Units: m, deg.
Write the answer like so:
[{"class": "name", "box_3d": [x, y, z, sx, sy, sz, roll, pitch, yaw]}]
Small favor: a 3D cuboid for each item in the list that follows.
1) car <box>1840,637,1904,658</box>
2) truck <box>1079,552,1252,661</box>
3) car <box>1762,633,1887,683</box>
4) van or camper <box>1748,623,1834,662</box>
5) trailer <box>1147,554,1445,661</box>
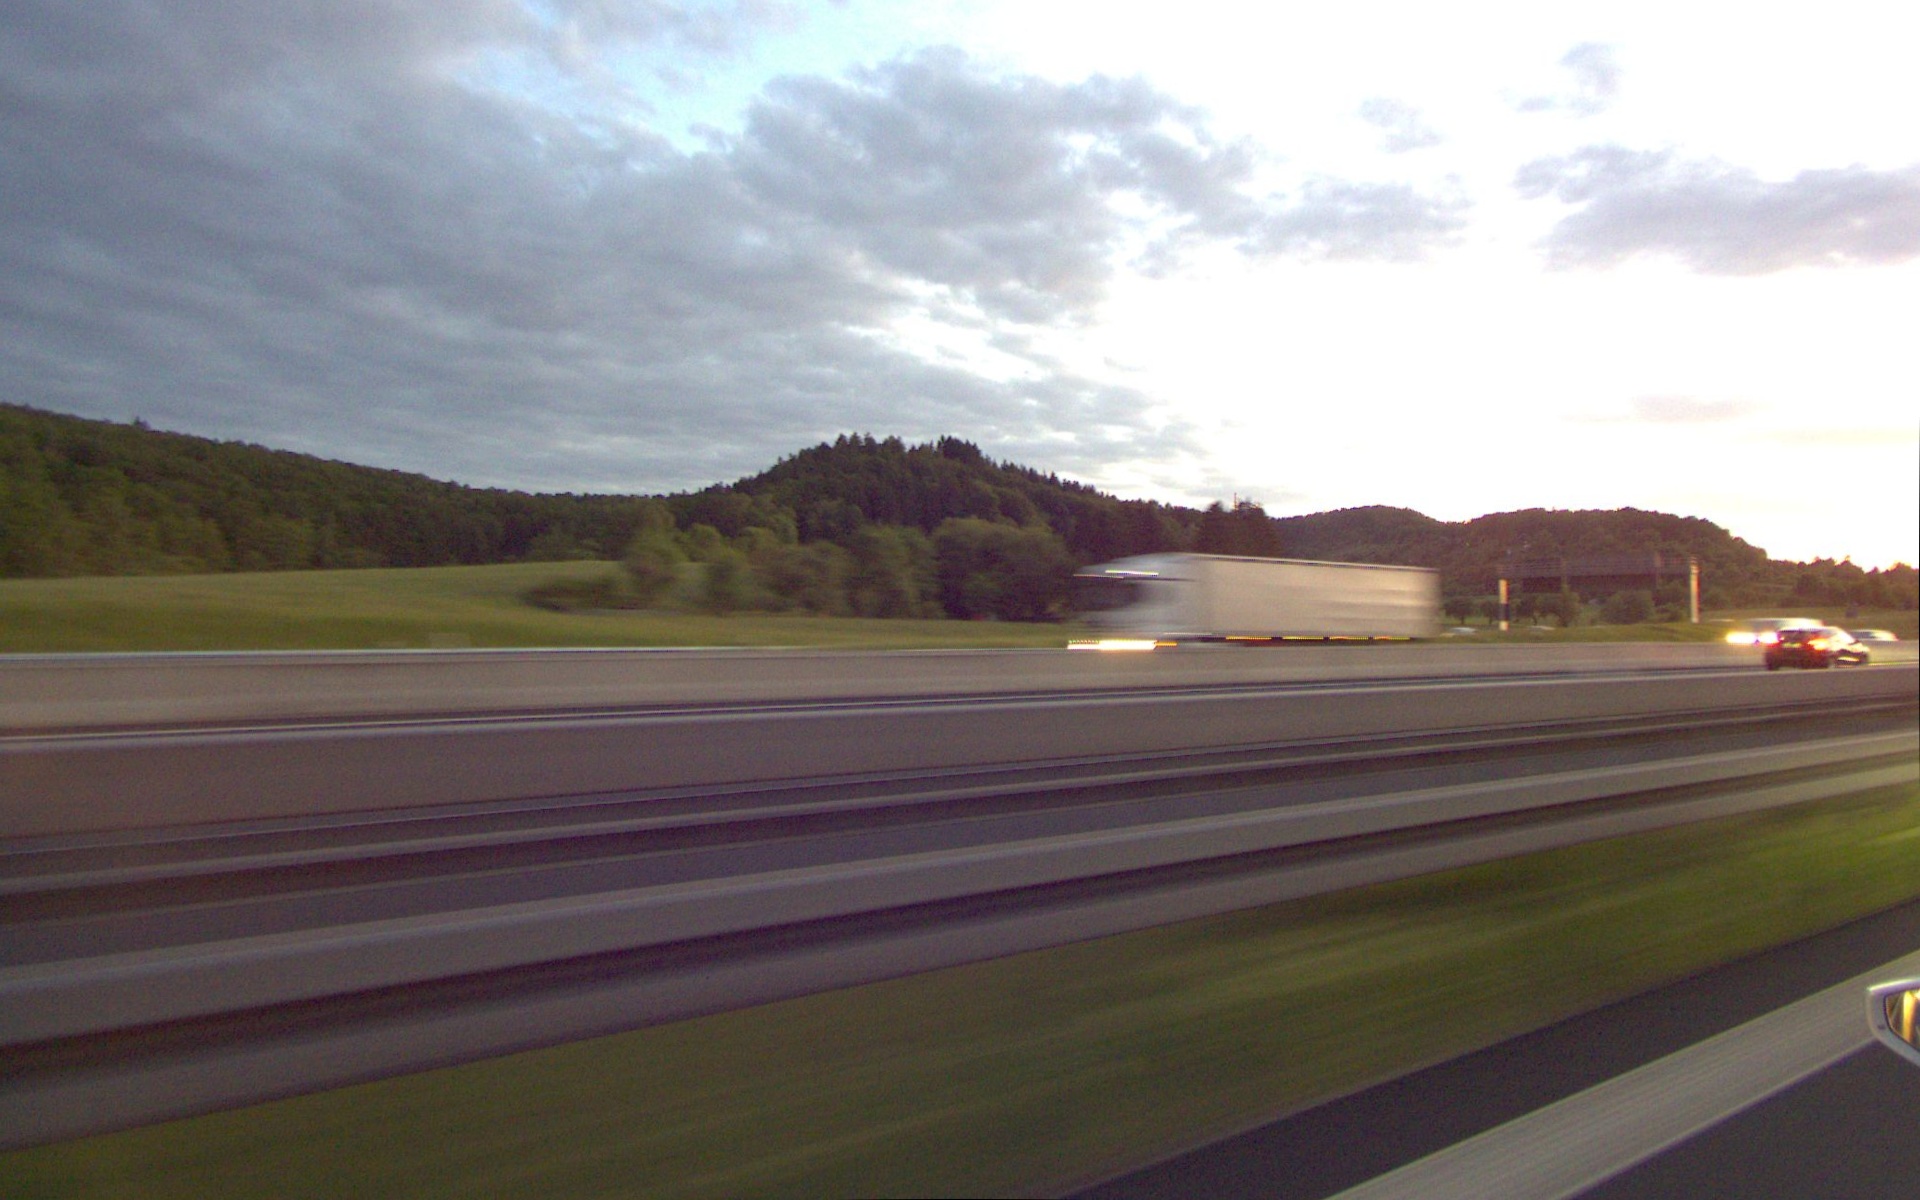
[{"class": "car", "box_3d": [56.388, 2.926, 62.091, 4.163, 1.266, 1.744, 2, -2, -30]}, {"class": "truck", "box_3d": [7.533, 0.347, 36.779, 5.434, 3.666, 3.294, 2, -2, -31]}, {"class": "car", "box_3d": [29.489, 1.956, 34.241, 4.467, 1.582, 1.863, 2, -2, -30]}, {"class": "van or camper", "box_3d": [44.330, 2.239, 53.532, 5.478, 1.932, 1.880, 1, -1, -32]}, {"class": "trailer", "box_3d": [13.870, 0.503, 40.536, 13.725, 3.814, 3.311, 2, -2, -31]}]
